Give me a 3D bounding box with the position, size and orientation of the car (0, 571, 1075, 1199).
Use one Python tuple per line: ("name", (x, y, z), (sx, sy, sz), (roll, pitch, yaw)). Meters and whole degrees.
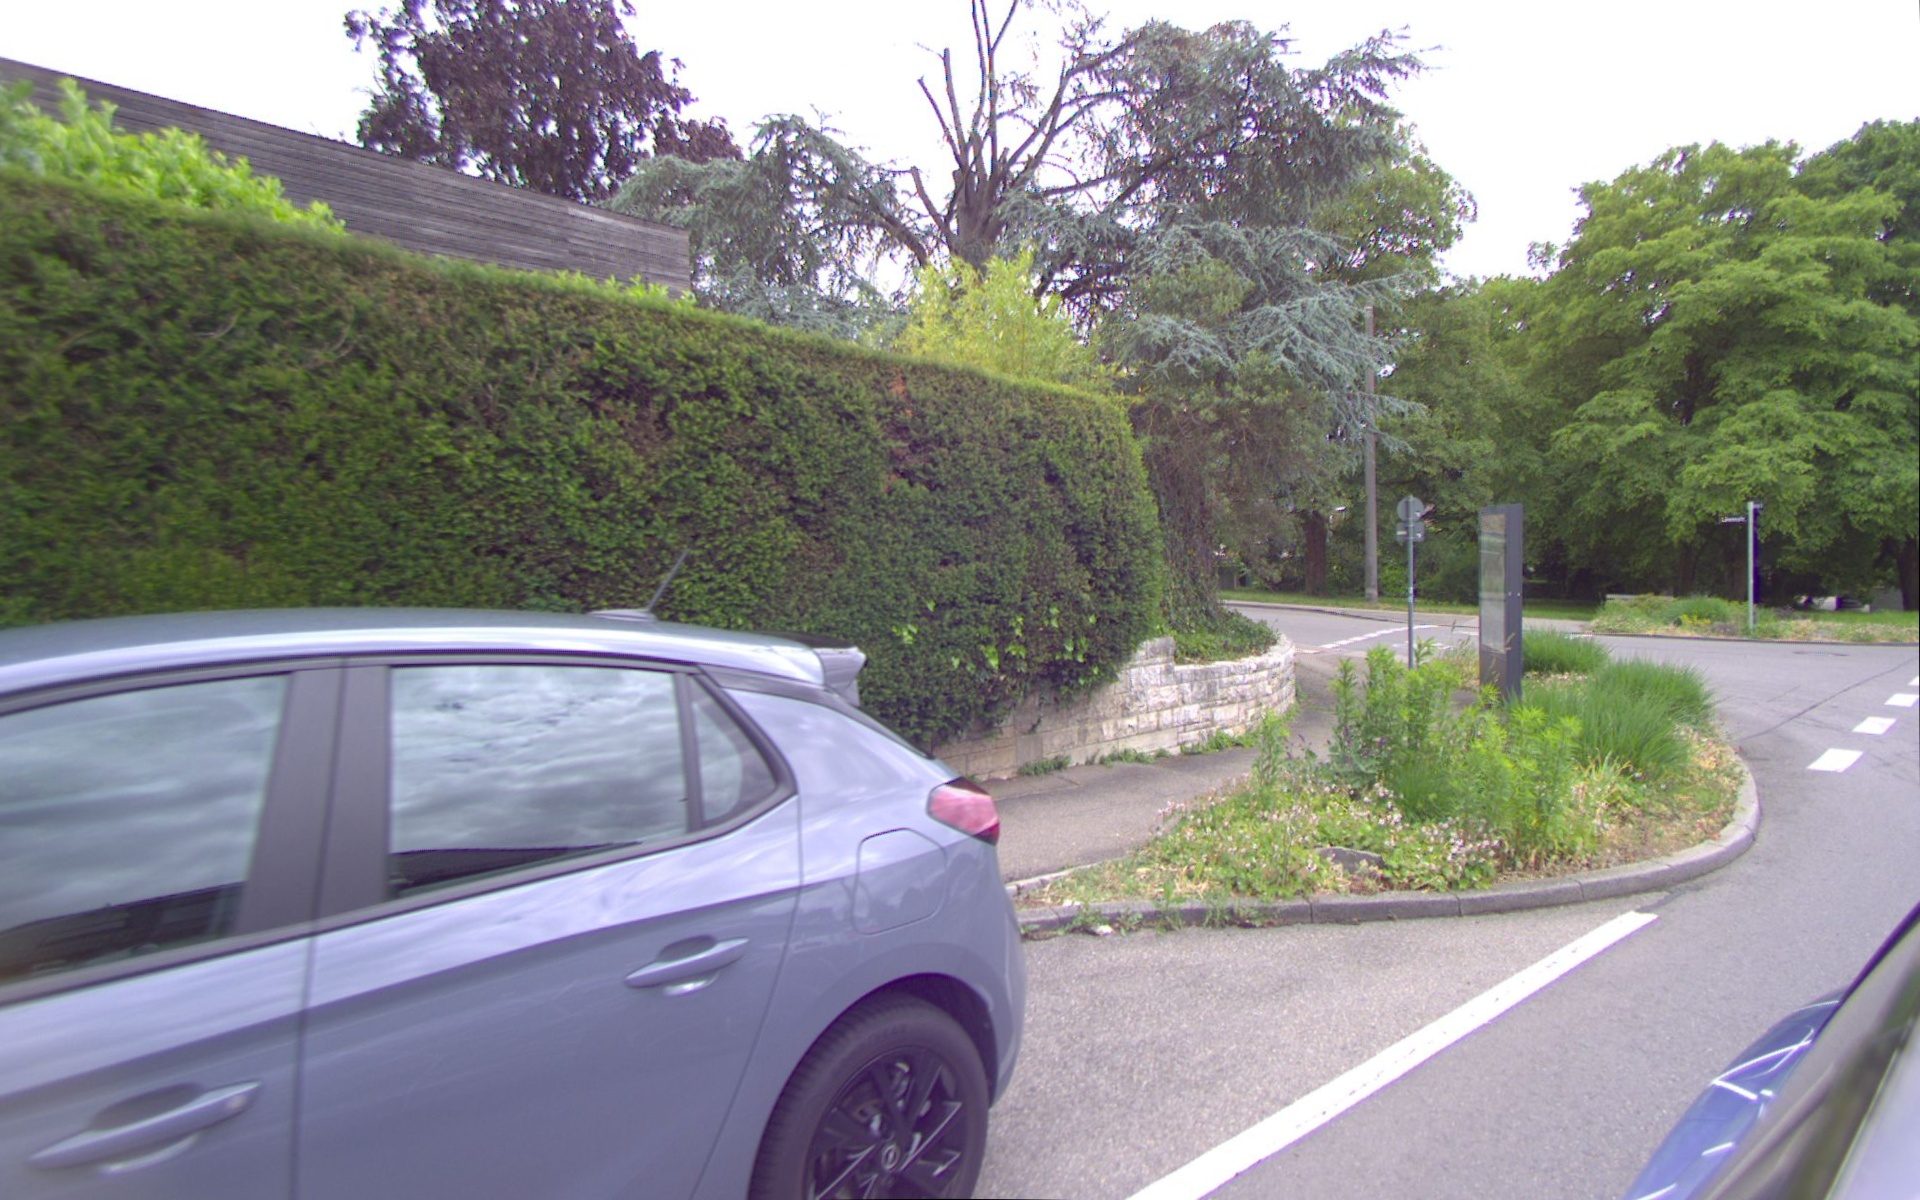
("car", (-1.799, 0.697, 1.890), (3.930, 1.482, 1.858), (0, 1, -41))
